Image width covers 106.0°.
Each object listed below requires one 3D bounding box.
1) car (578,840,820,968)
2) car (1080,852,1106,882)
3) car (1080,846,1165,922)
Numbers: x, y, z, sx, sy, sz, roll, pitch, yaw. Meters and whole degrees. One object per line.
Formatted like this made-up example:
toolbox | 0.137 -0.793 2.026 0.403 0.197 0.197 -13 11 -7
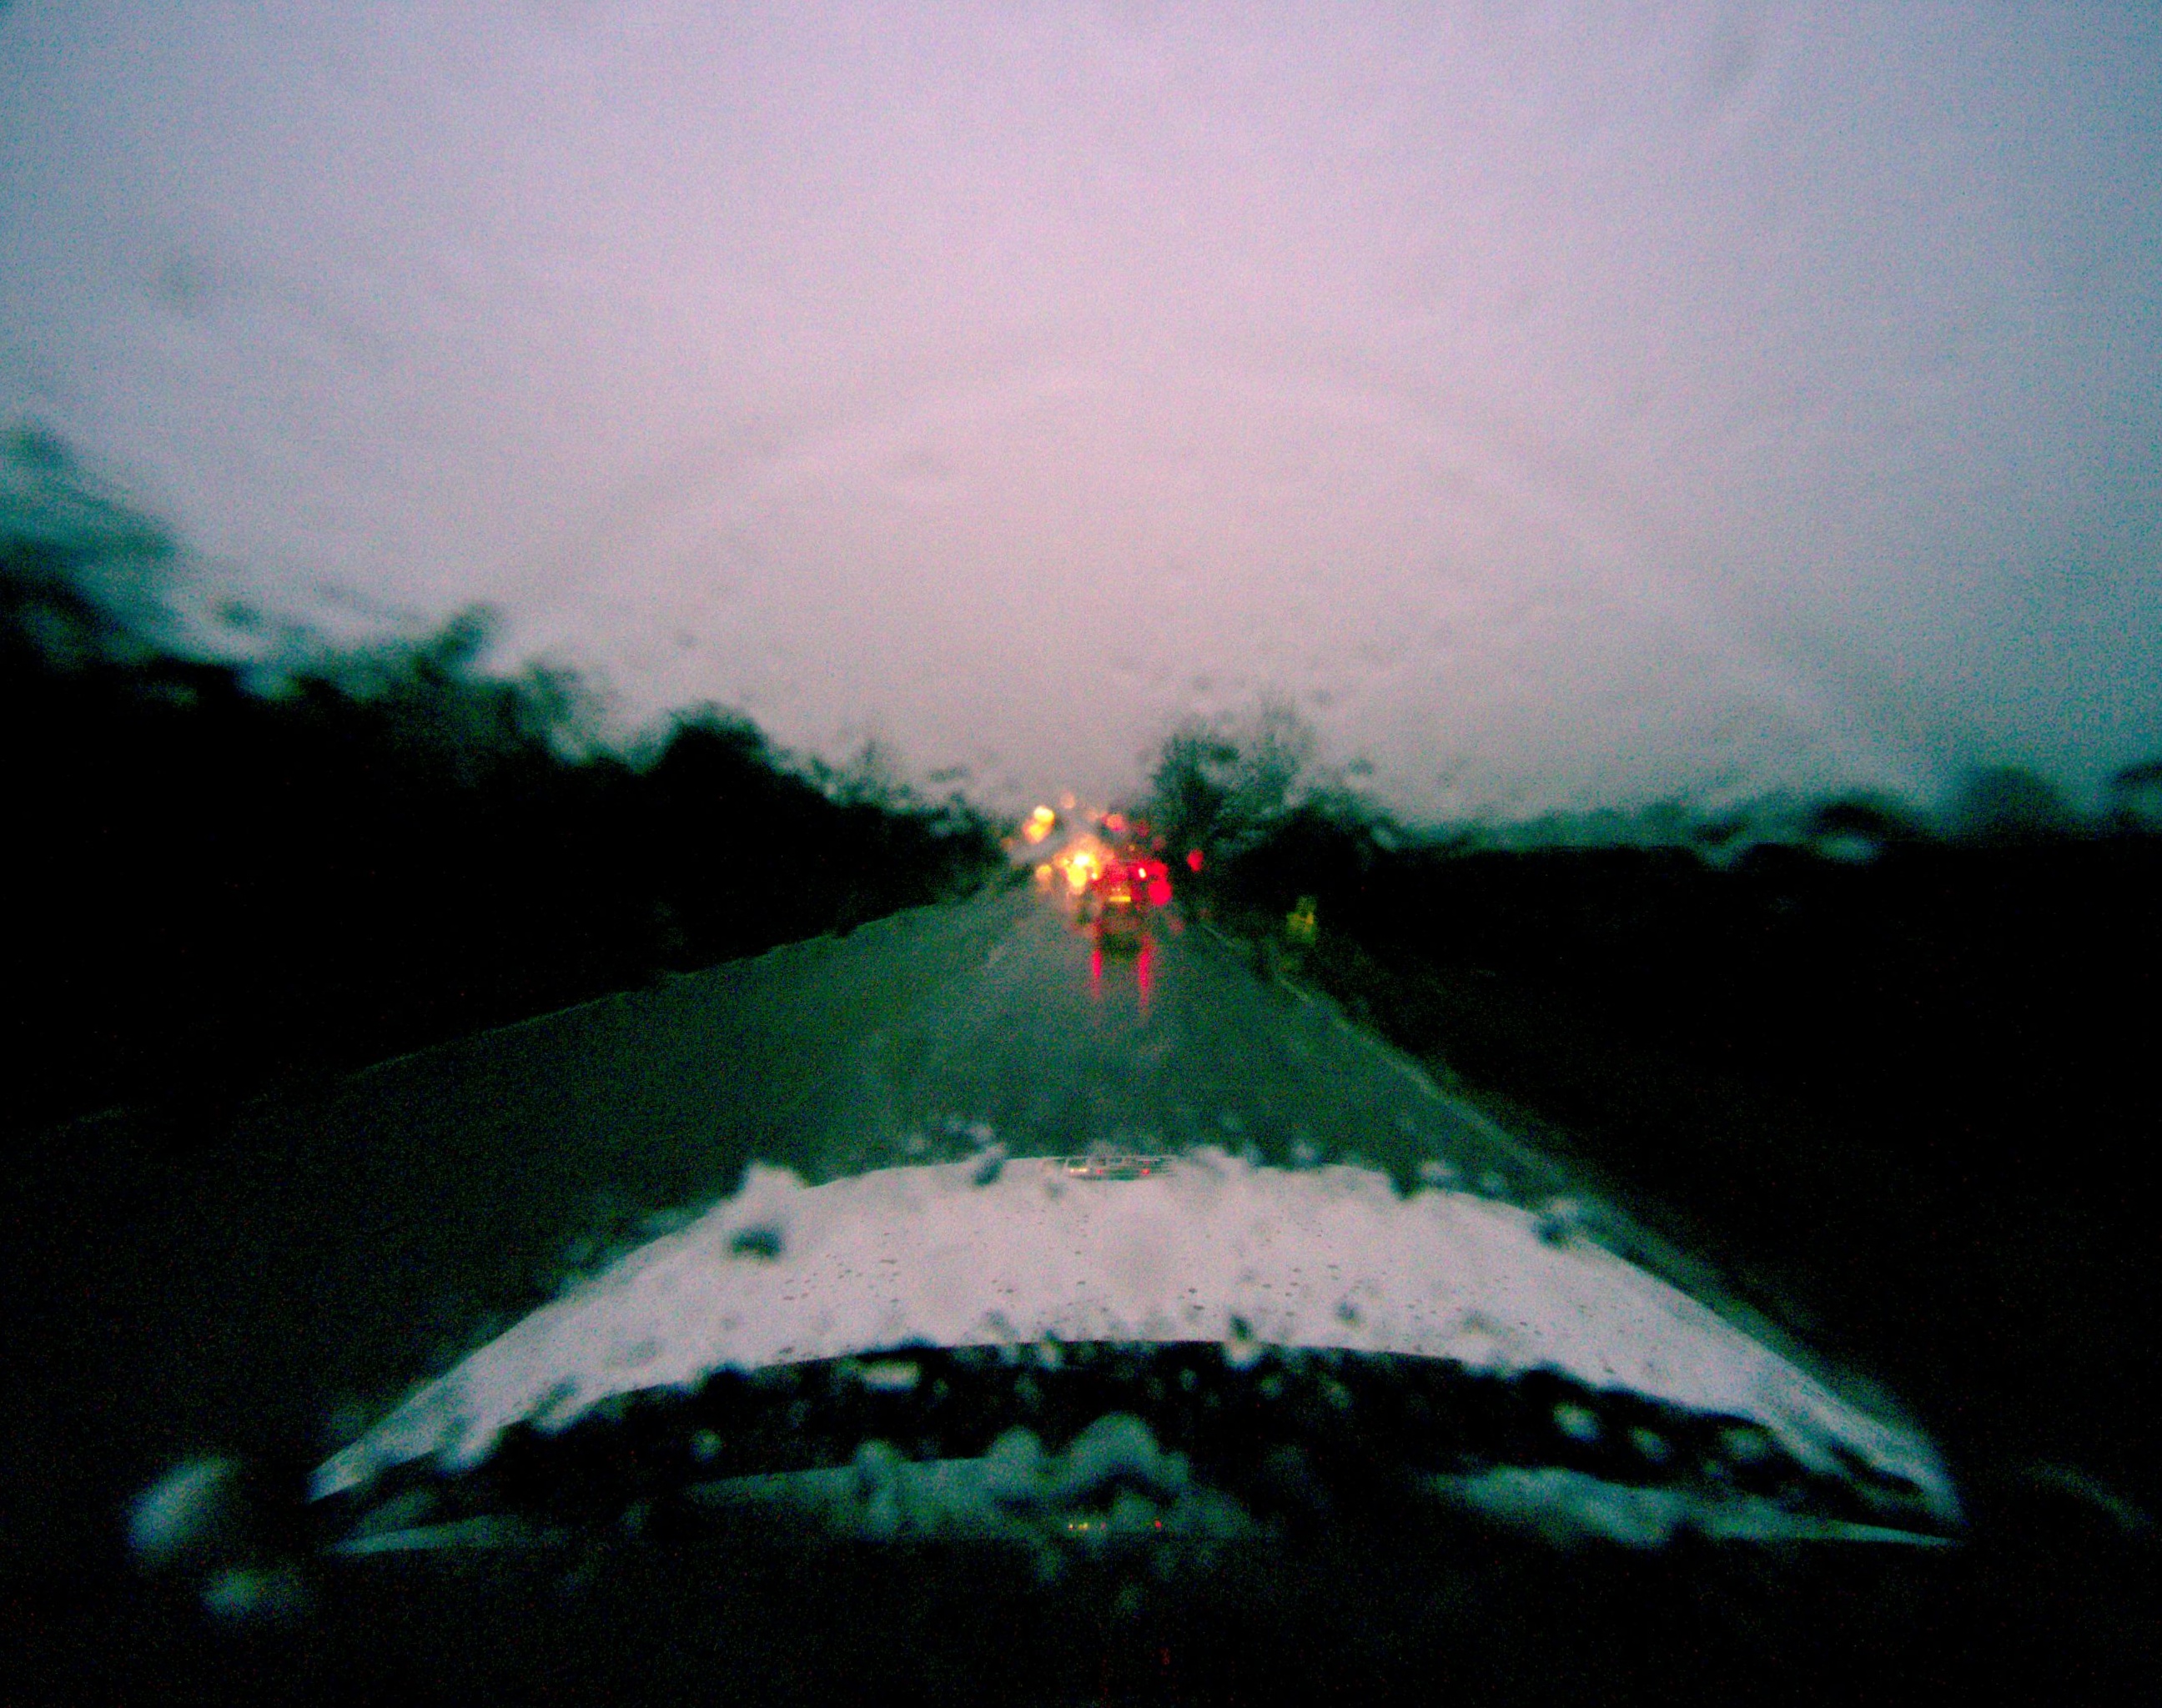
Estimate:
car | -6.025 0.716 13.469 1.986 1.785 4.002 0 0 2
car | 0.789 0.841 52.490 1.568 1.875 3.711 0 0 2
car | 1.053 0.726 21.260 1.986 1.785 4.002 0 0 2
